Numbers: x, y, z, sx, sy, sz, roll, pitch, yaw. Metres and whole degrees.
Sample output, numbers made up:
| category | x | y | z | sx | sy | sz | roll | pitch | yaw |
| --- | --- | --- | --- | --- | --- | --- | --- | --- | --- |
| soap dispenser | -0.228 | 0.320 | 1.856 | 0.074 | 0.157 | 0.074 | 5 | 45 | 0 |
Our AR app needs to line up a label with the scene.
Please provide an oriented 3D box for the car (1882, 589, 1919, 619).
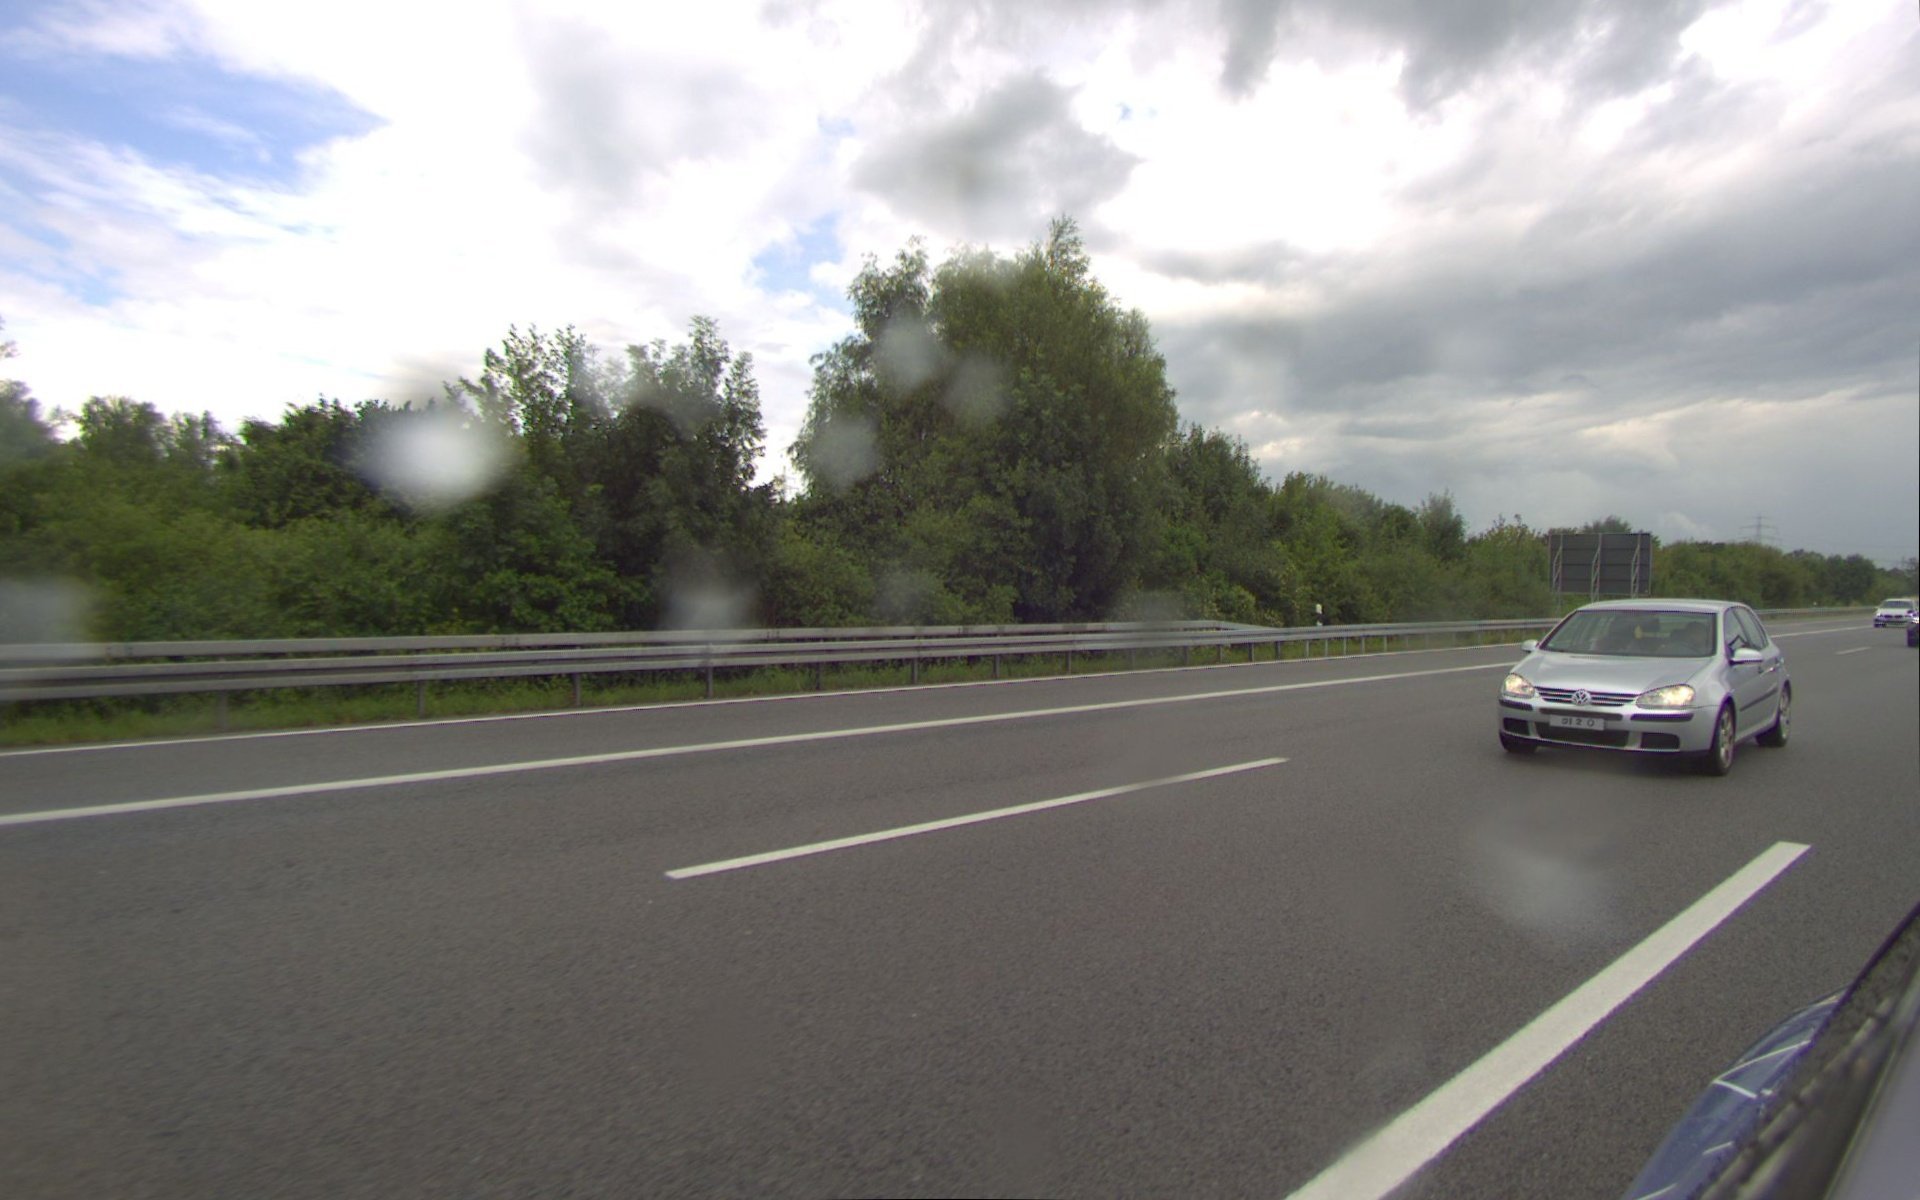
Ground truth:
| category | x | y | z | sx | sy | sz | roll | pitch | yaw |
| --- | --- | --- | --- | --- | --- | --- | --- | --- | --- |
| car | 53.529 | 0.191 | 57.164 | 4.617 | 1.619 | 1.812 | 0 | 0 | -43 |

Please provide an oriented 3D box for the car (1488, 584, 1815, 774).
| category | x | y | z | sx | sy | sz | roll | pitch | yaw |
| --- | --- | --- | --- | --- | --- | --- | --- | --- | --- |
| car | 6.904 | 0.606 | 9.947 | 3.968 | 1.495 | 1.798 | 0 | 0 | -42 |
